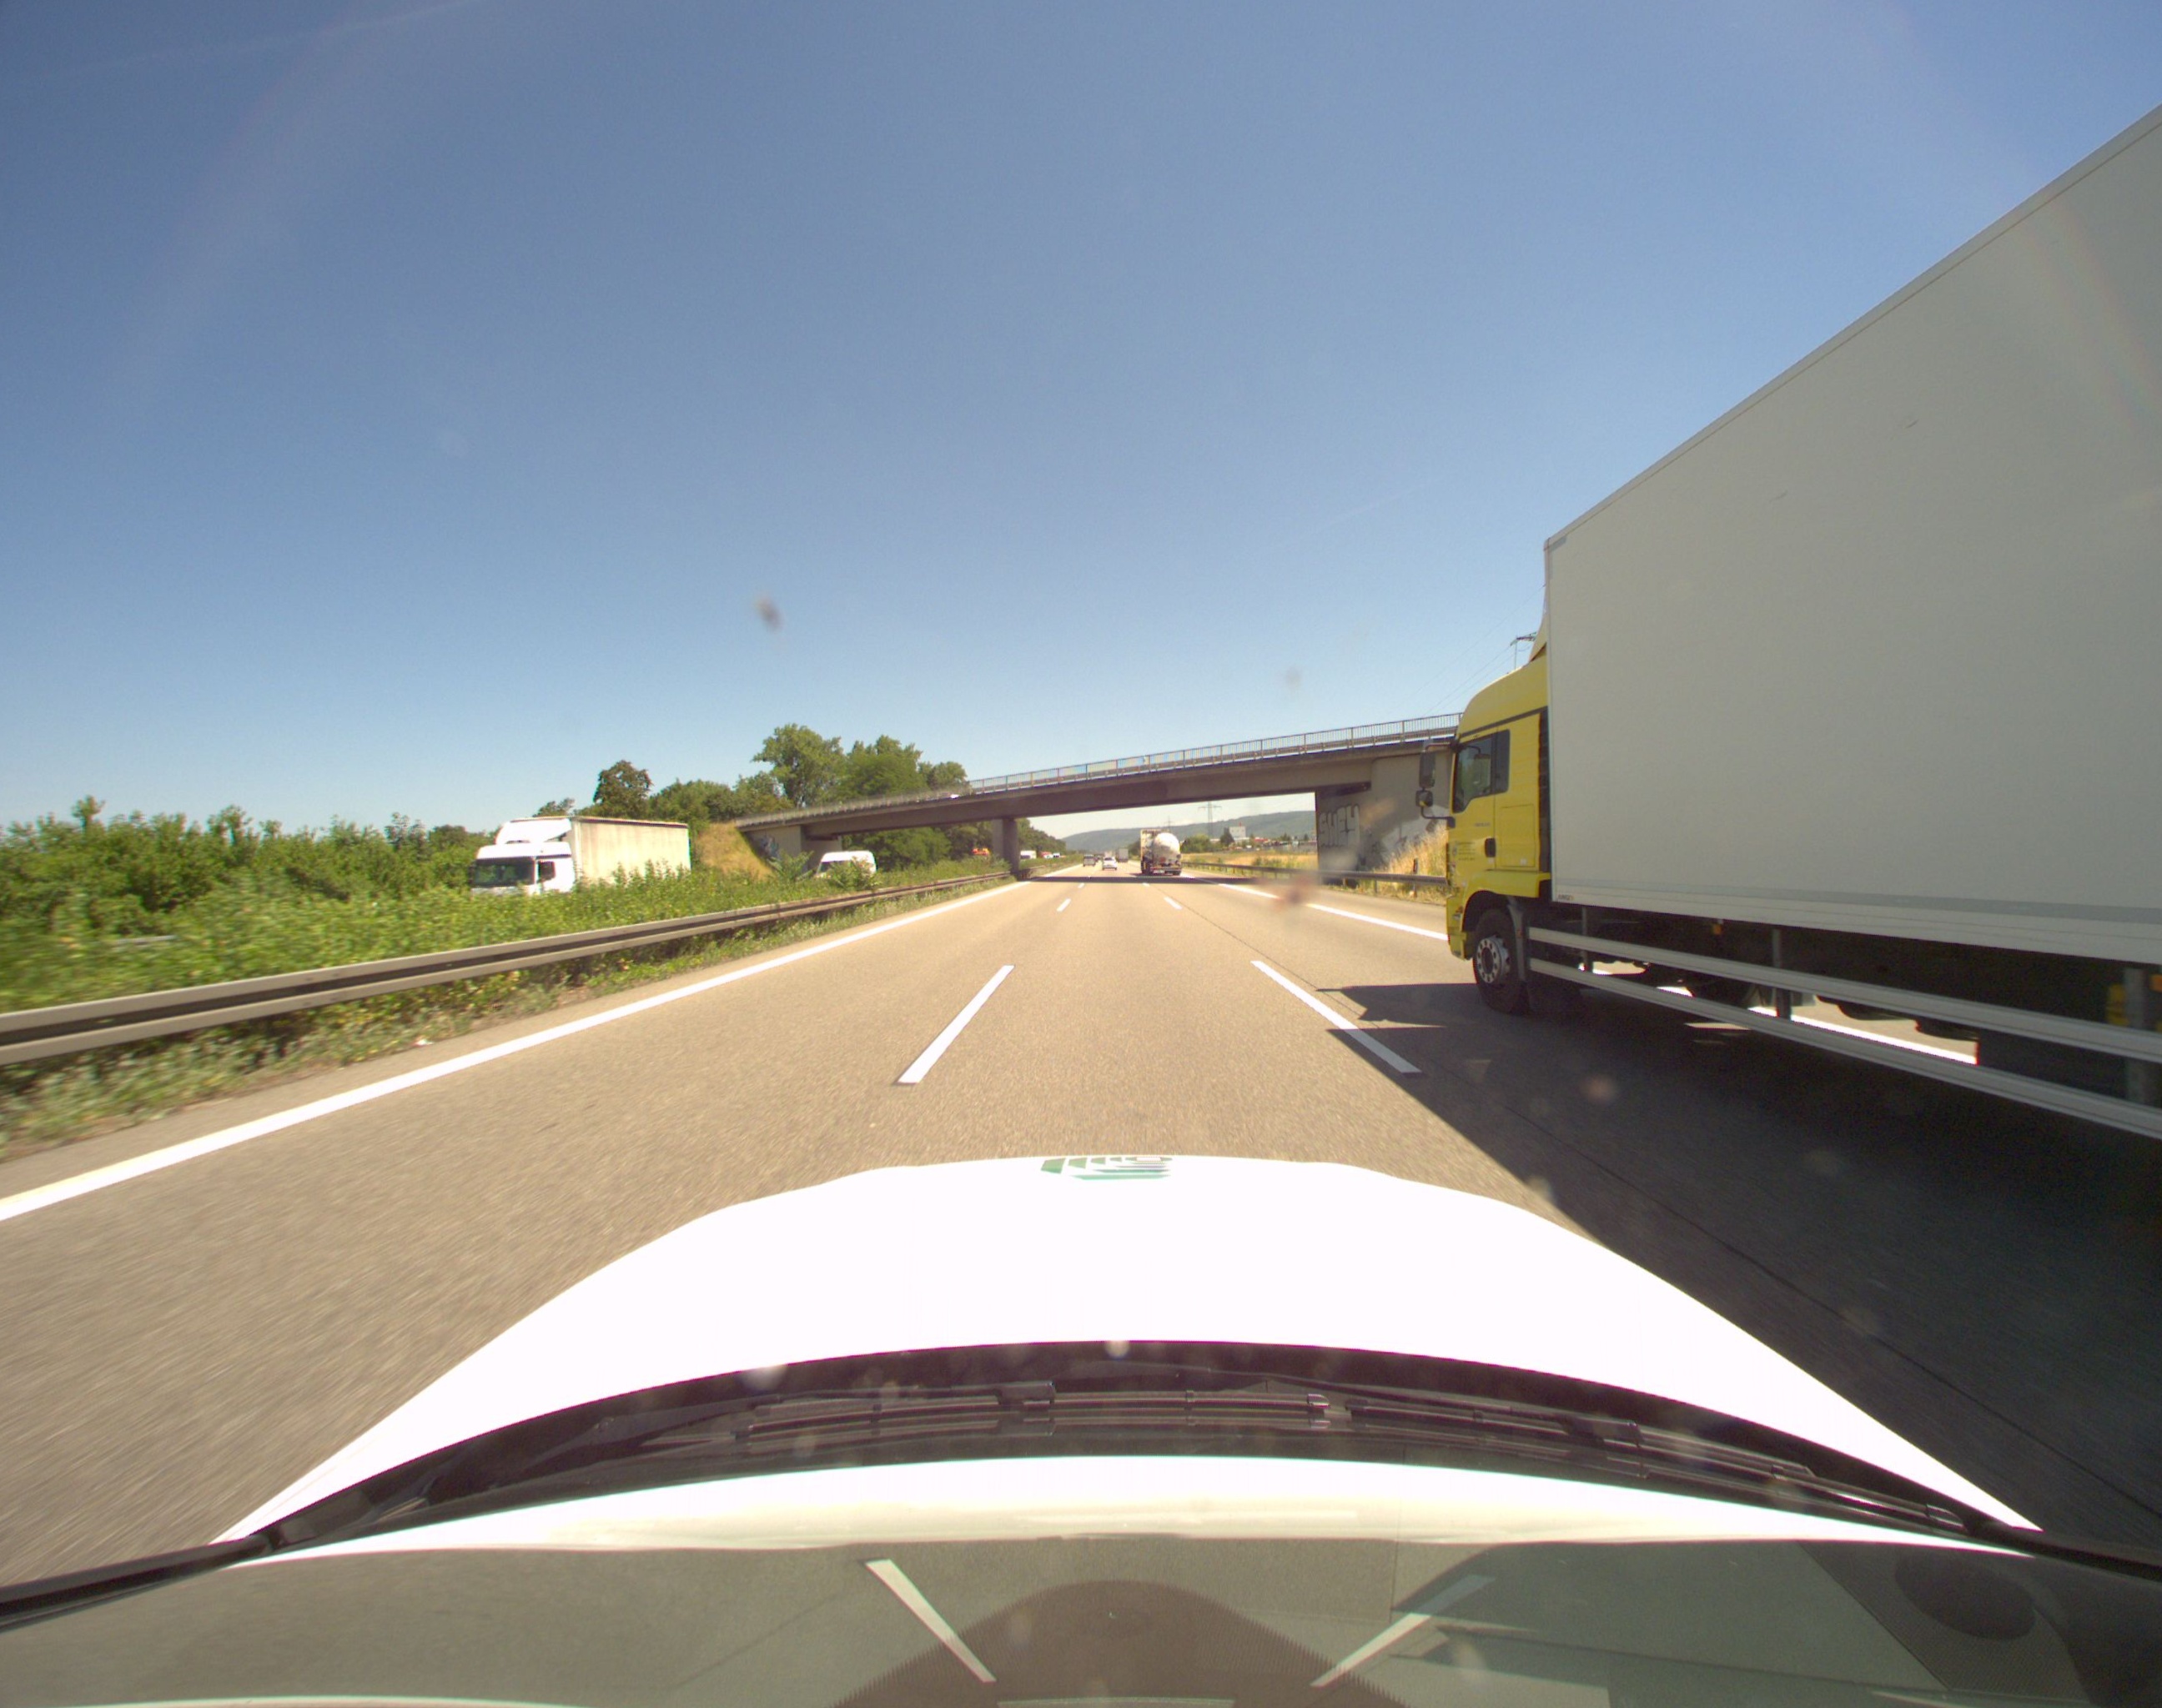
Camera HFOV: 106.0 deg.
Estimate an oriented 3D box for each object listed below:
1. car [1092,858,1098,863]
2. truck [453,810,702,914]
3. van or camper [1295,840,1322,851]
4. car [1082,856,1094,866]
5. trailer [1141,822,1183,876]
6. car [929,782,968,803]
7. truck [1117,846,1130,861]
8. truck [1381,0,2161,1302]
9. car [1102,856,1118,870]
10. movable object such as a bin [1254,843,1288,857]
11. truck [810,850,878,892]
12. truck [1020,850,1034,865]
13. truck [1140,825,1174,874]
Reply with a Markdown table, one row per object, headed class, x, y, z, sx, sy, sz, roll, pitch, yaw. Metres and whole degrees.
| class | x | y | z | sx | sy | sz | roll | pitch | yaw |
| --- | --- | --- | --- | --- | --- | --- | --- | --- | --- |
| car | 3.949 | 1.760 | 228.602 | 1.828 | 1.386 | 4.002 | 0 | 0 | 2 |
| truck | -19.423 | 0.281 | 32.728 | 2.865 | 3.498 | 10.743 | 0 | 0 | 3 |
| van or camper | 60.394 | -2.360 | 216.253 | 6.316 | 2.552 | 2.440 | -3 | 0 | 3 |
| car | 1.221 | 1.104 | 135.368 | 1.845 | 1.633 | 4.002 | 0 | 0 | 2 |
| trailer | 6.409 | -0.363 | 66.119 | 2.570 | 4.074 | 11.106 | 0 | 0 | 1 |
| car | -11.549 | -5.323 | 70.972 | 1.647 | 1.468 | 3.955 | 0 | 0 | -38 |
| truck | 11.202 | -0.010 | 216.685 | 3.253 | 3.857 | 11.635 | 0 | 0 | 1 |
| truck | 4.886 | -0.703 | 4.328 | 2.922 | 4.200 | 10.685 | 0 | 0 | 2 |
| car | 3.386 | 1.011 | 93.745 | 1.799 | 1.468 | 4.002 | 0 | 0 | 2 |
| movable object such as a bin | 58.789 | -1.334 | 252.157 | 9.675 | 3.689 | 2.636 | -4 | -1 | 3 |
| truck | -14.266 | 0.960 | 49.466 | 1.985 | 2.399 | 6.424 | 0 | 0 | 3 |
| truck | -13.295 | 0.902 | 200.474 | 2.785 | 3.721 | 5.119 | 0 | 0 | 2 |
| truck | 6.536 | -0.341 | 70.832 | 2.563 | 4.072 | 6.394 | 0 | 0 | 1 |
